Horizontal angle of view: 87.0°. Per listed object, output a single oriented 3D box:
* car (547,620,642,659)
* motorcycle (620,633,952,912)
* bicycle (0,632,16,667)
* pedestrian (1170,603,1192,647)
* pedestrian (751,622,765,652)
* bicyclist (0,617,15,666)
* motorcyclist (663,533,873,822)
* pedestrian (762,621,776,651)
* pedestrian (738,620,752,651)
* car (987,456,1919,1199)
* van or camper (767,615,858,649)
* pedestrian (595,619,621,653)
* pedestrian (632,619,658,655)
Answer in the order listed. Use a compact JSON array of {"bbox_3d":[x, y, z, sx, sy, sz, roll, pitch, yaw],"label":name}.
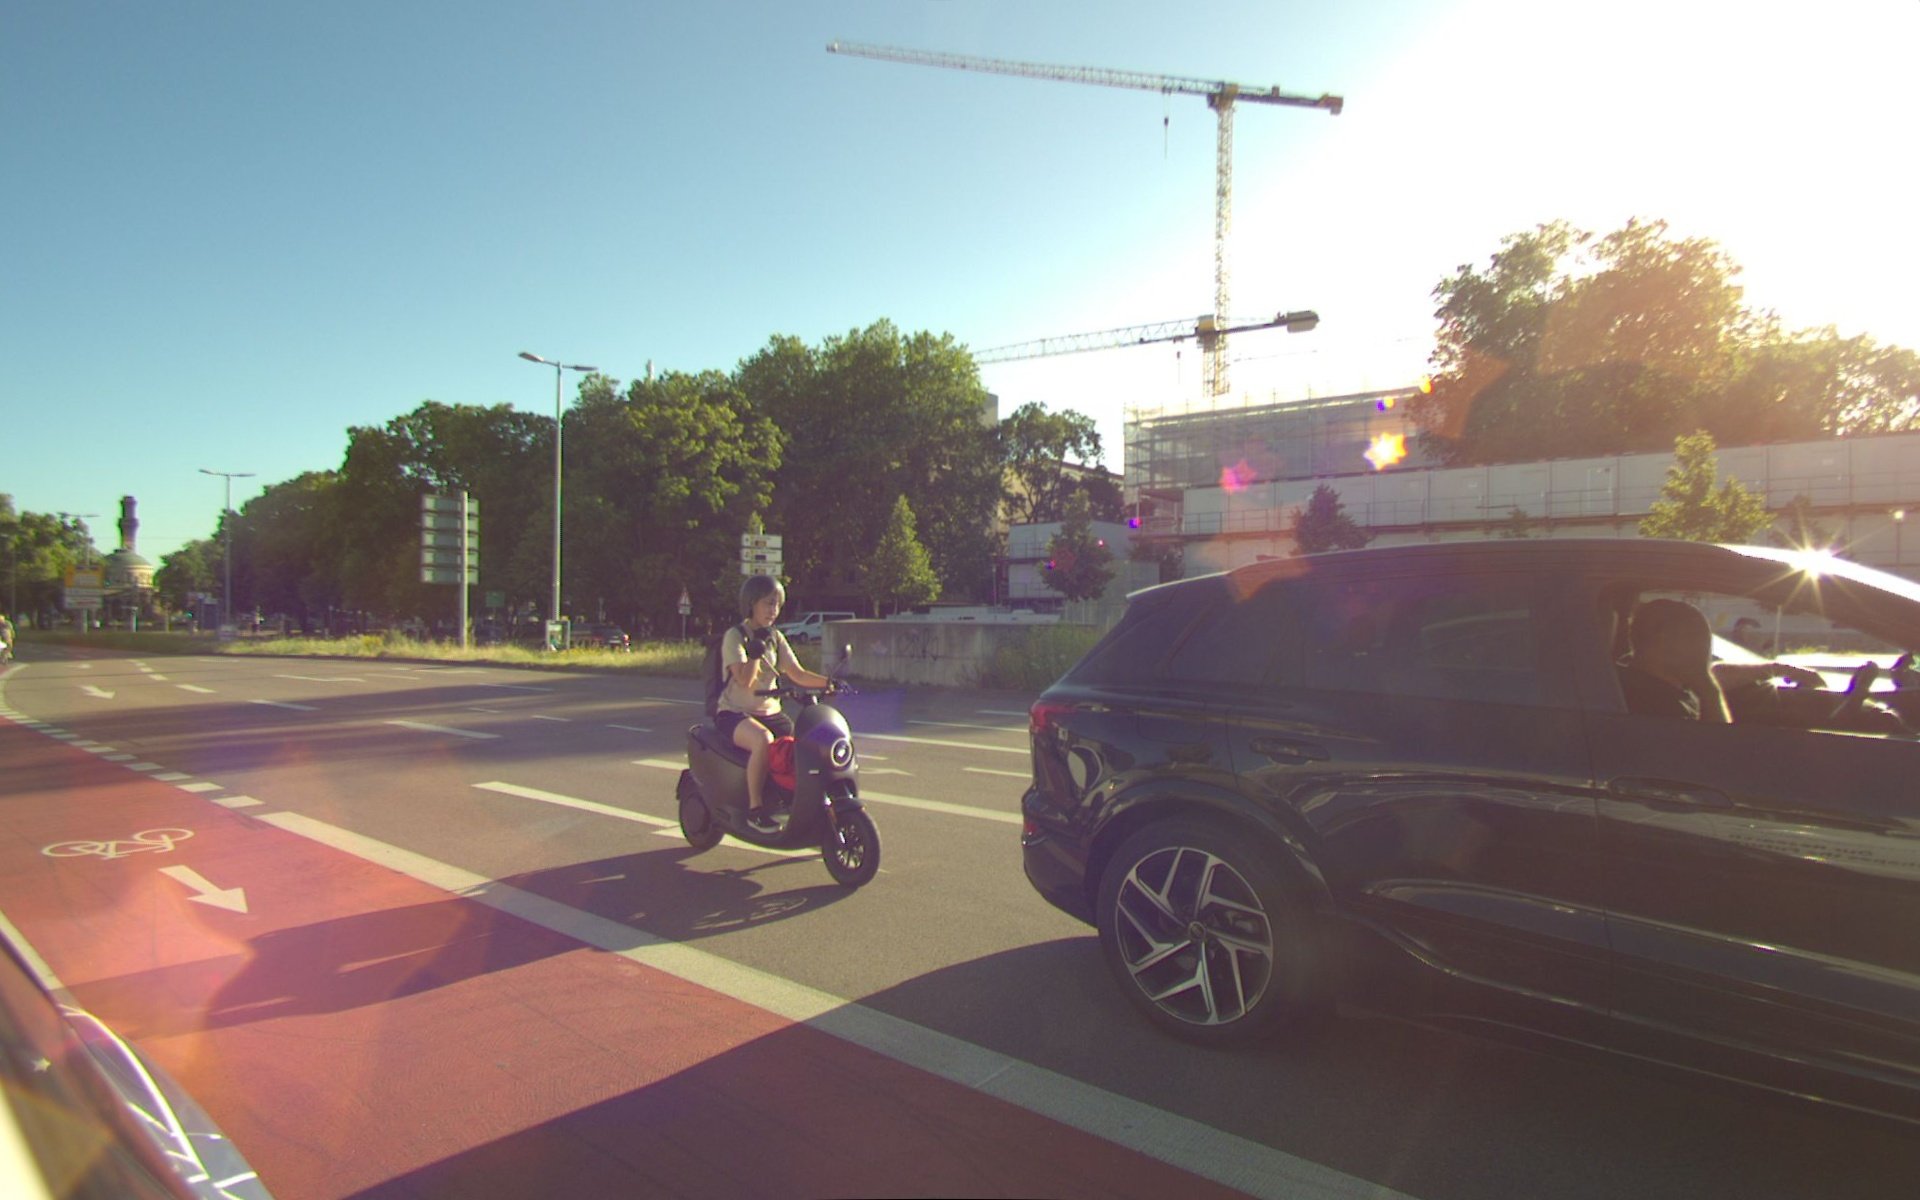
[{"bbox_3d":[-14.602,1.558,40.349,3.979,1.492,1.857,-1,-2,41],"label":"car"},{"bbox_3d":[-1.036,0.842,5.718,1.943,1.290,0.817,-1,-2,41],"label":"motorcycle"},{"bbox_3d":[-33.527,1.718,35.334,1.505,1.201,0.680,-1,-2,41],"label":"bicycle"},{"bbox_3d":[8.208,0.925,37.601,0.597,1.614,0.580,-1,0,38],"label":"pedestrian"},{"bbox_3d":[-10.206,1.860,51.177,0.494,1.522,0.492,-1,-2,41],"label":"pedestrian"},{"bbox_3d":[-33.569,1.445,35.392,0.877,1.671,0.666,-1,-2,41],"label":"bicyclist"},{"bbox_3d":[-1.093,0.409,5.789,0.877,1.475,0.813,-1,-2,41],"label":"motorcyclist"},{"bbox_3d":[-9.803,1.835,51.872,0.494,1.522,0.492,-1,-2,41],"label":"pedestrian"},{"bbox_3d":[-10.760,1.782,50.568,0.494,1.522,0.492,-1,-2,41],"label":"pedestrian"},{"bbox_3d":[2.575,0.549,3.174,4.661,1.720,2.143,-1,-1,40],"label":"car"},{"bbox_3d":[-8.961,1.929,61.896,1.951,1.960,5.425,-2,-2,44],"label":"van or camper"},{"bbox_3d":[-20.733,2.103,59.579,1.054,1.978,0.942,-1,0,26],"label":"pedestrian"},{"bbox_3d":[-17.903,2.086,57.556,0.815,1.978,1.111,-1,0,41],"label":"pedestrian"}]
